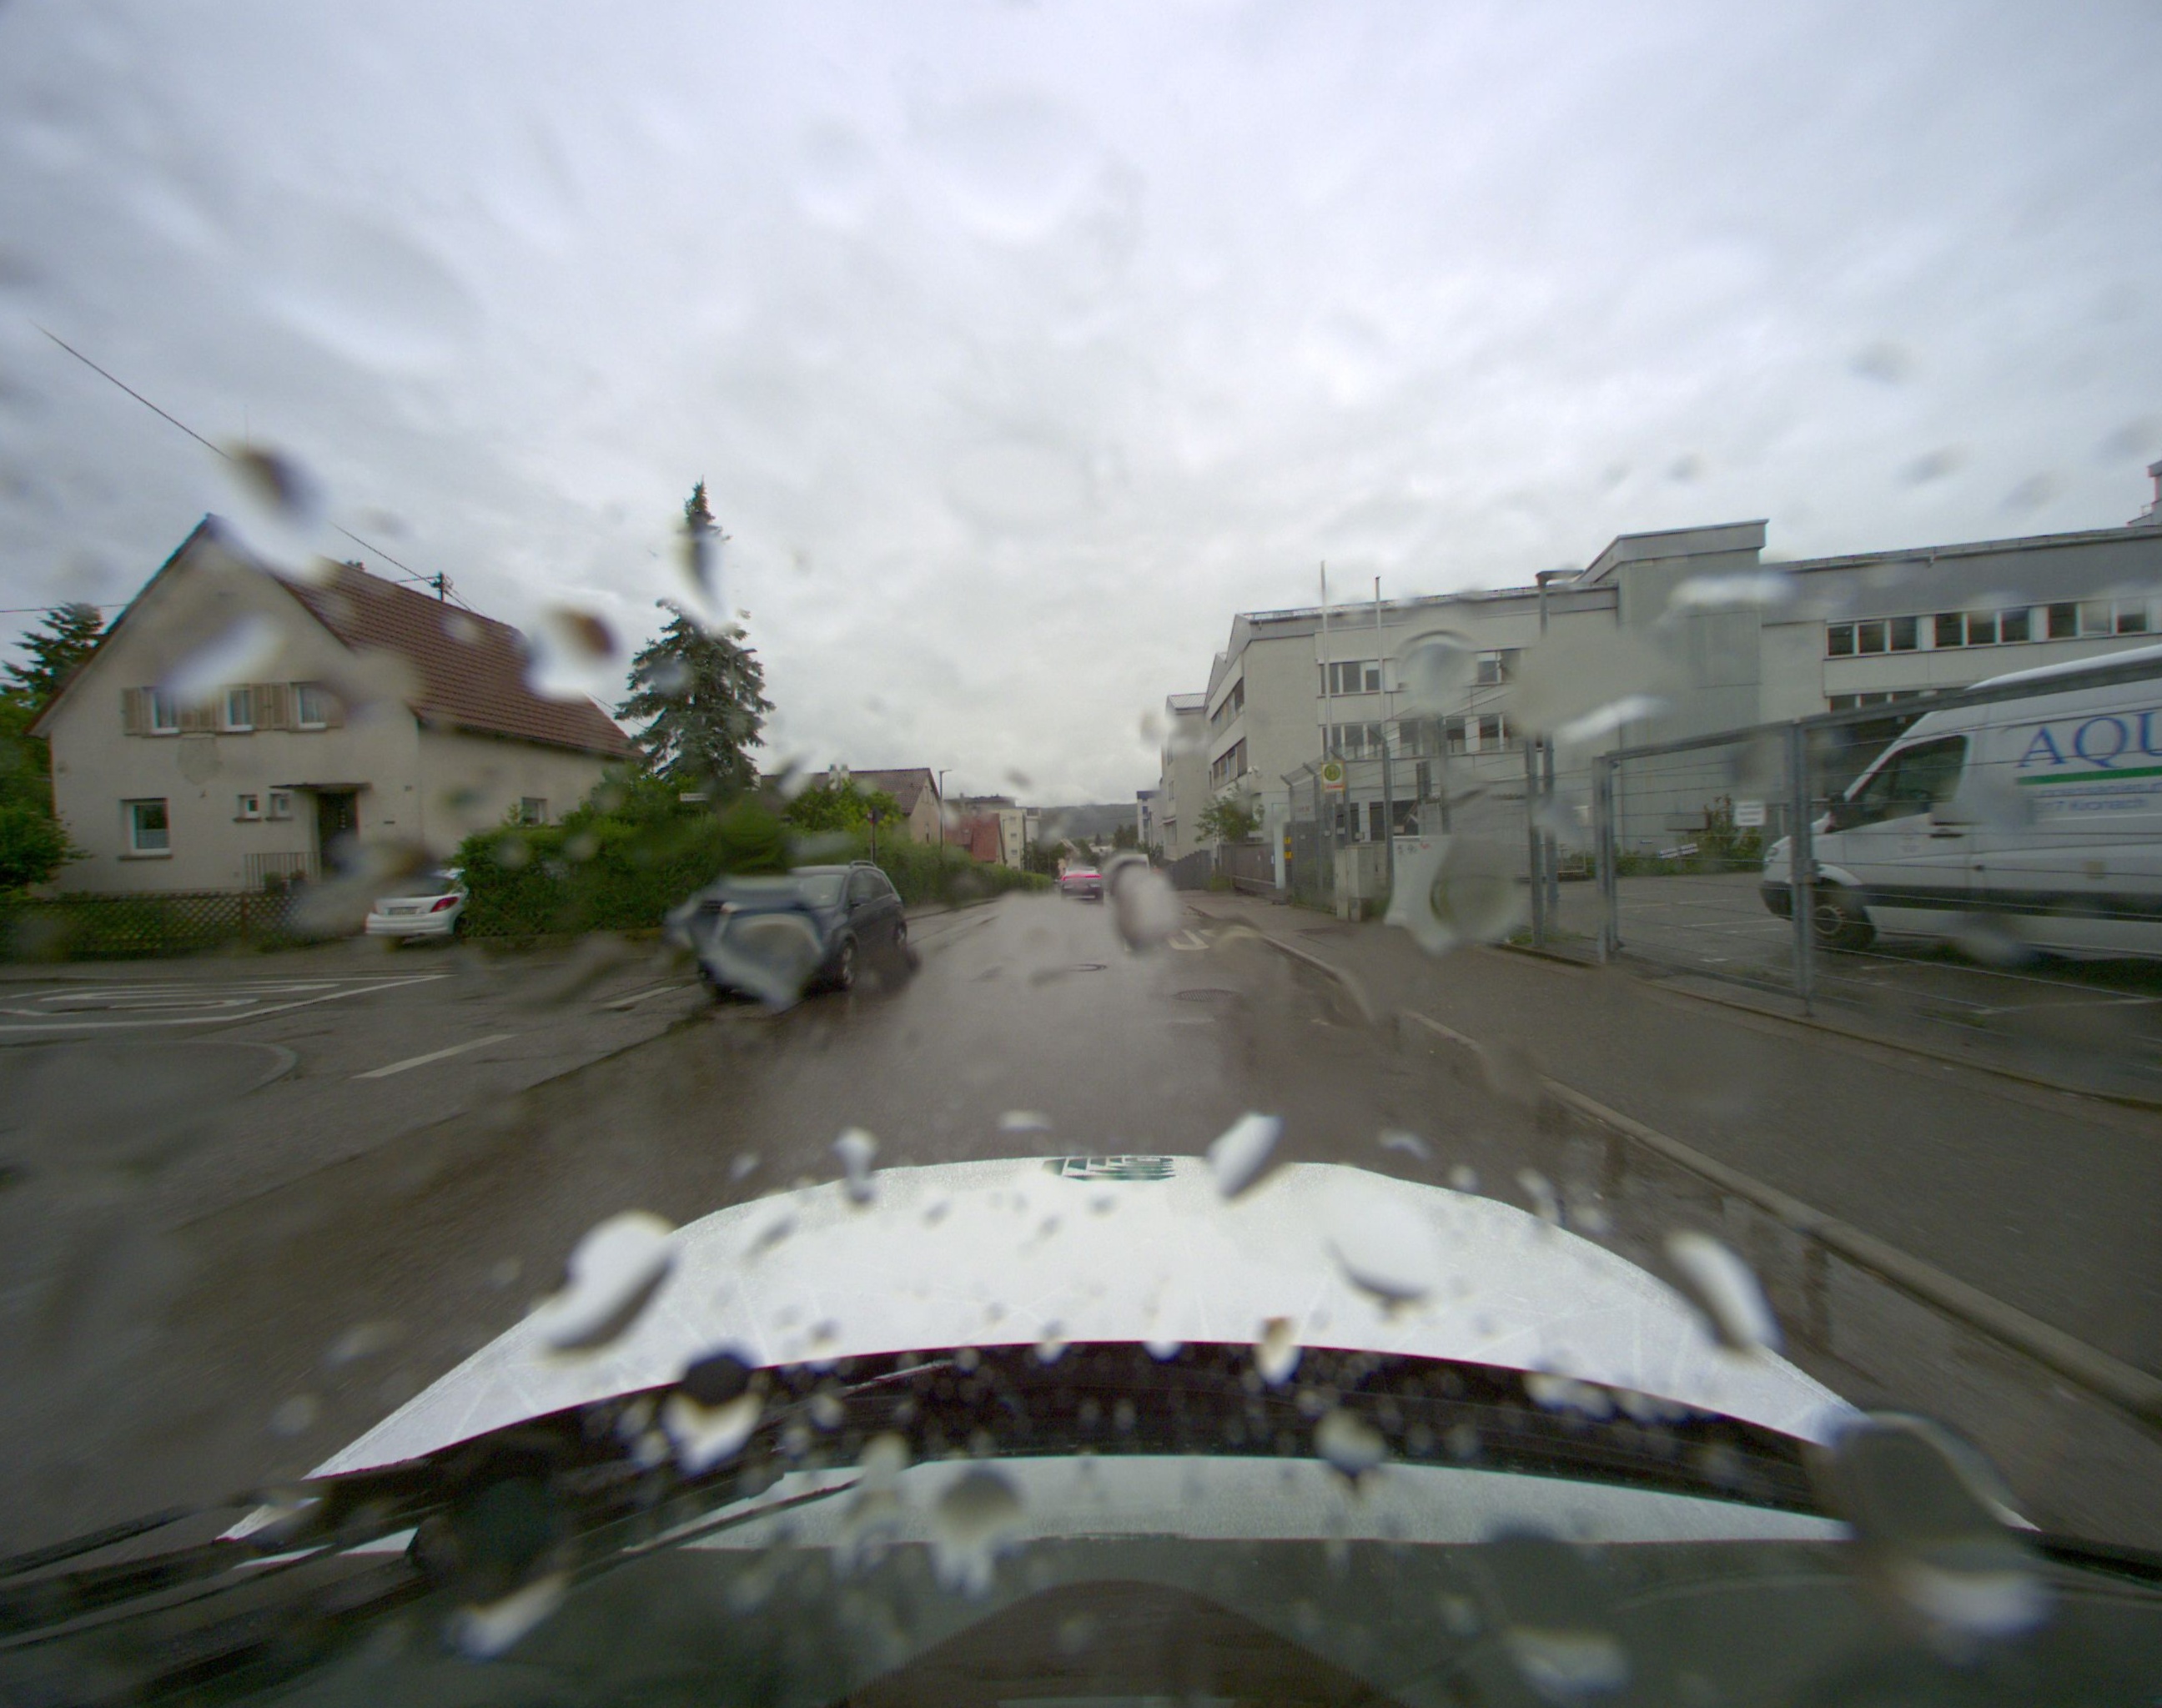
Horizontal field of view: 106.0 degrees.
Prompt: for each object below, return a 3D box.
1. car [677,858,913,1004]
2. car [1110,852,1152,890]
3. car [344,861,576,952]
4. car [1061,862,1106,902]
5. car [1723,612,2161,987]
[{"bbox_3d":[-3.591,0.860,11.053,1.670,1.527,4.001,-2,0,1],"label":"car"},{"bbox_3d":[2.841,0.998,46.982,1.988,2.014,3.997,-3,-2,-2],"label":"car"},{"bbox_3d":[-13.157,1.023,17.638,1.787,1.507,4.002,-2,2,2],"label":"car"},{"bbox_3d":[0.080,1.253,38.624,1.988,1.502,4.669,-2,2,-1],"label":"car"},{"bbox_3d":[8.674,-0.452,6.478,1.991,2.684,5.942,-4,1,-5],"label":"car"}]
